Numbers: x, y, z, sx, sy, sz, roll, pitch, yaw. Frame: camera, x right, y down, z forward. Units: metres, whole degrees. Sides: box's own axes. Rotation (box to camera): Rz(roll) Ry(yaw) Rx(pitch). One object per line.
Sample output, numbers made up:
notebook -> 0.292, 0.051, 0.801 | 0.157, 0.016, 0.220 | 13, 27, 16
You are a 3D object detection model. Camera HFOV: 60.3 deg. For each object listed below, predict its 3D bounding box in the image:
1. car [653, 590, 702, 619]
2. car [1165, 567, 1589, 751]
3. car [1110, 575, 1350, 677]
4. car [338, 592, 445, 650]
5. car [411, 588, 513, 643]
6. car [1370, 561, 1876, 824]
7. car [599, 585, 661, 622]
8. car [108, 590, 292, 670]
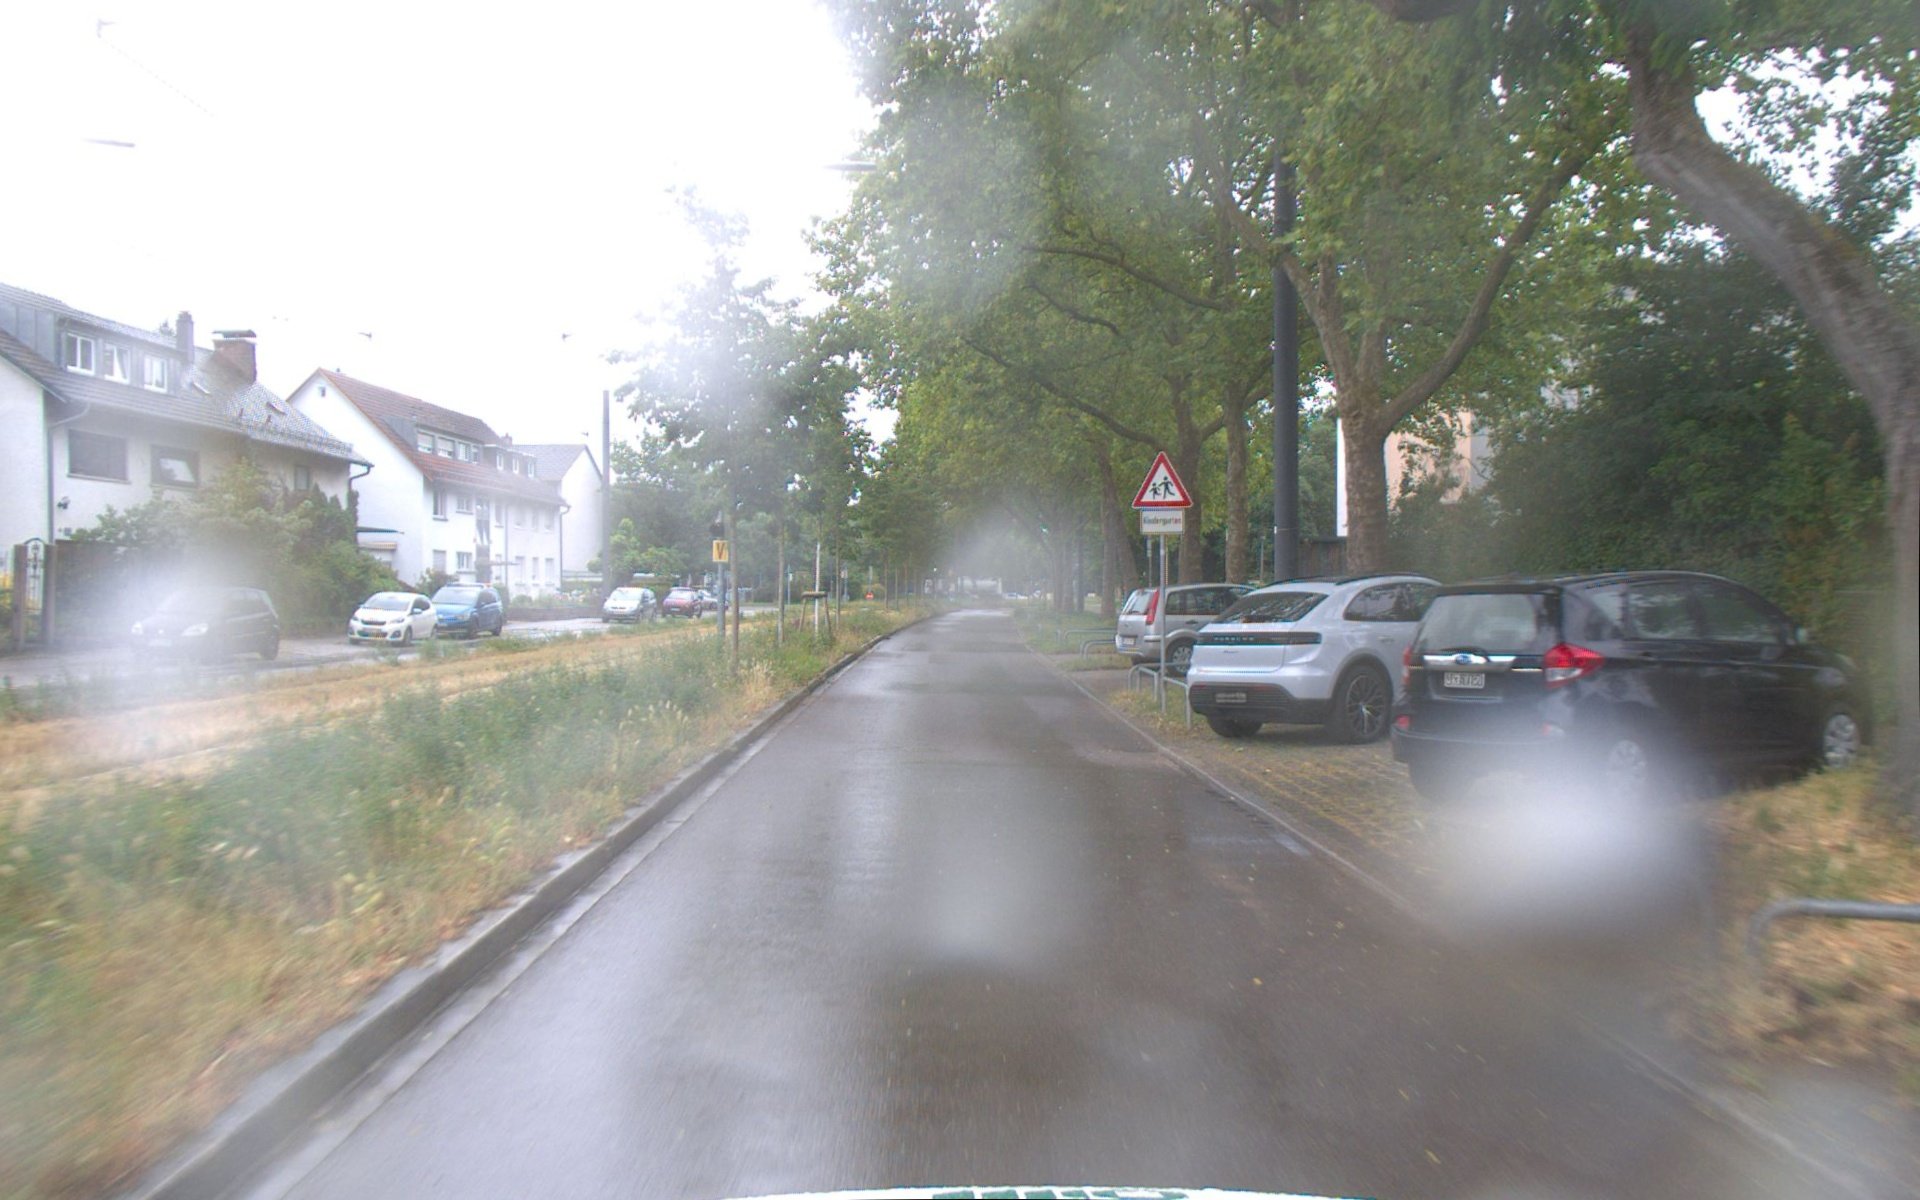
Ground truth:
car -> -15.652, 0.238, 91.889 | 1.953, 1.514, 4.206 | 2, 1, 0
car -> 4.593, 0.526, 17.868 | 4.726, 1.697, 1.968 | -2, 1, -38
car -> 4.691, 0.420, 28.849 | 3.791, 1.593, 1.613 | -2, 1, -15
car -> -16.249, 0.582, 47.444 | 1.759, 1.514, 3.597 | 2, 1, 0
car -> -16.177, 0.475, 53.960 | 1.953, 1.642, 4.413 | 2, 1, 0
car -> 4.832, 0.546, 11.917 | 3.669, 1.593, 1.600 | -1, 1, -34
car -> -15.529, 0.157, 78.027 | 1.953, 1.608, 4.517 | 2, 1, 0
car -> -16.288, 0.592, 35.701 | 1.953, 1.542, 4.206 | 2, 1, 0
